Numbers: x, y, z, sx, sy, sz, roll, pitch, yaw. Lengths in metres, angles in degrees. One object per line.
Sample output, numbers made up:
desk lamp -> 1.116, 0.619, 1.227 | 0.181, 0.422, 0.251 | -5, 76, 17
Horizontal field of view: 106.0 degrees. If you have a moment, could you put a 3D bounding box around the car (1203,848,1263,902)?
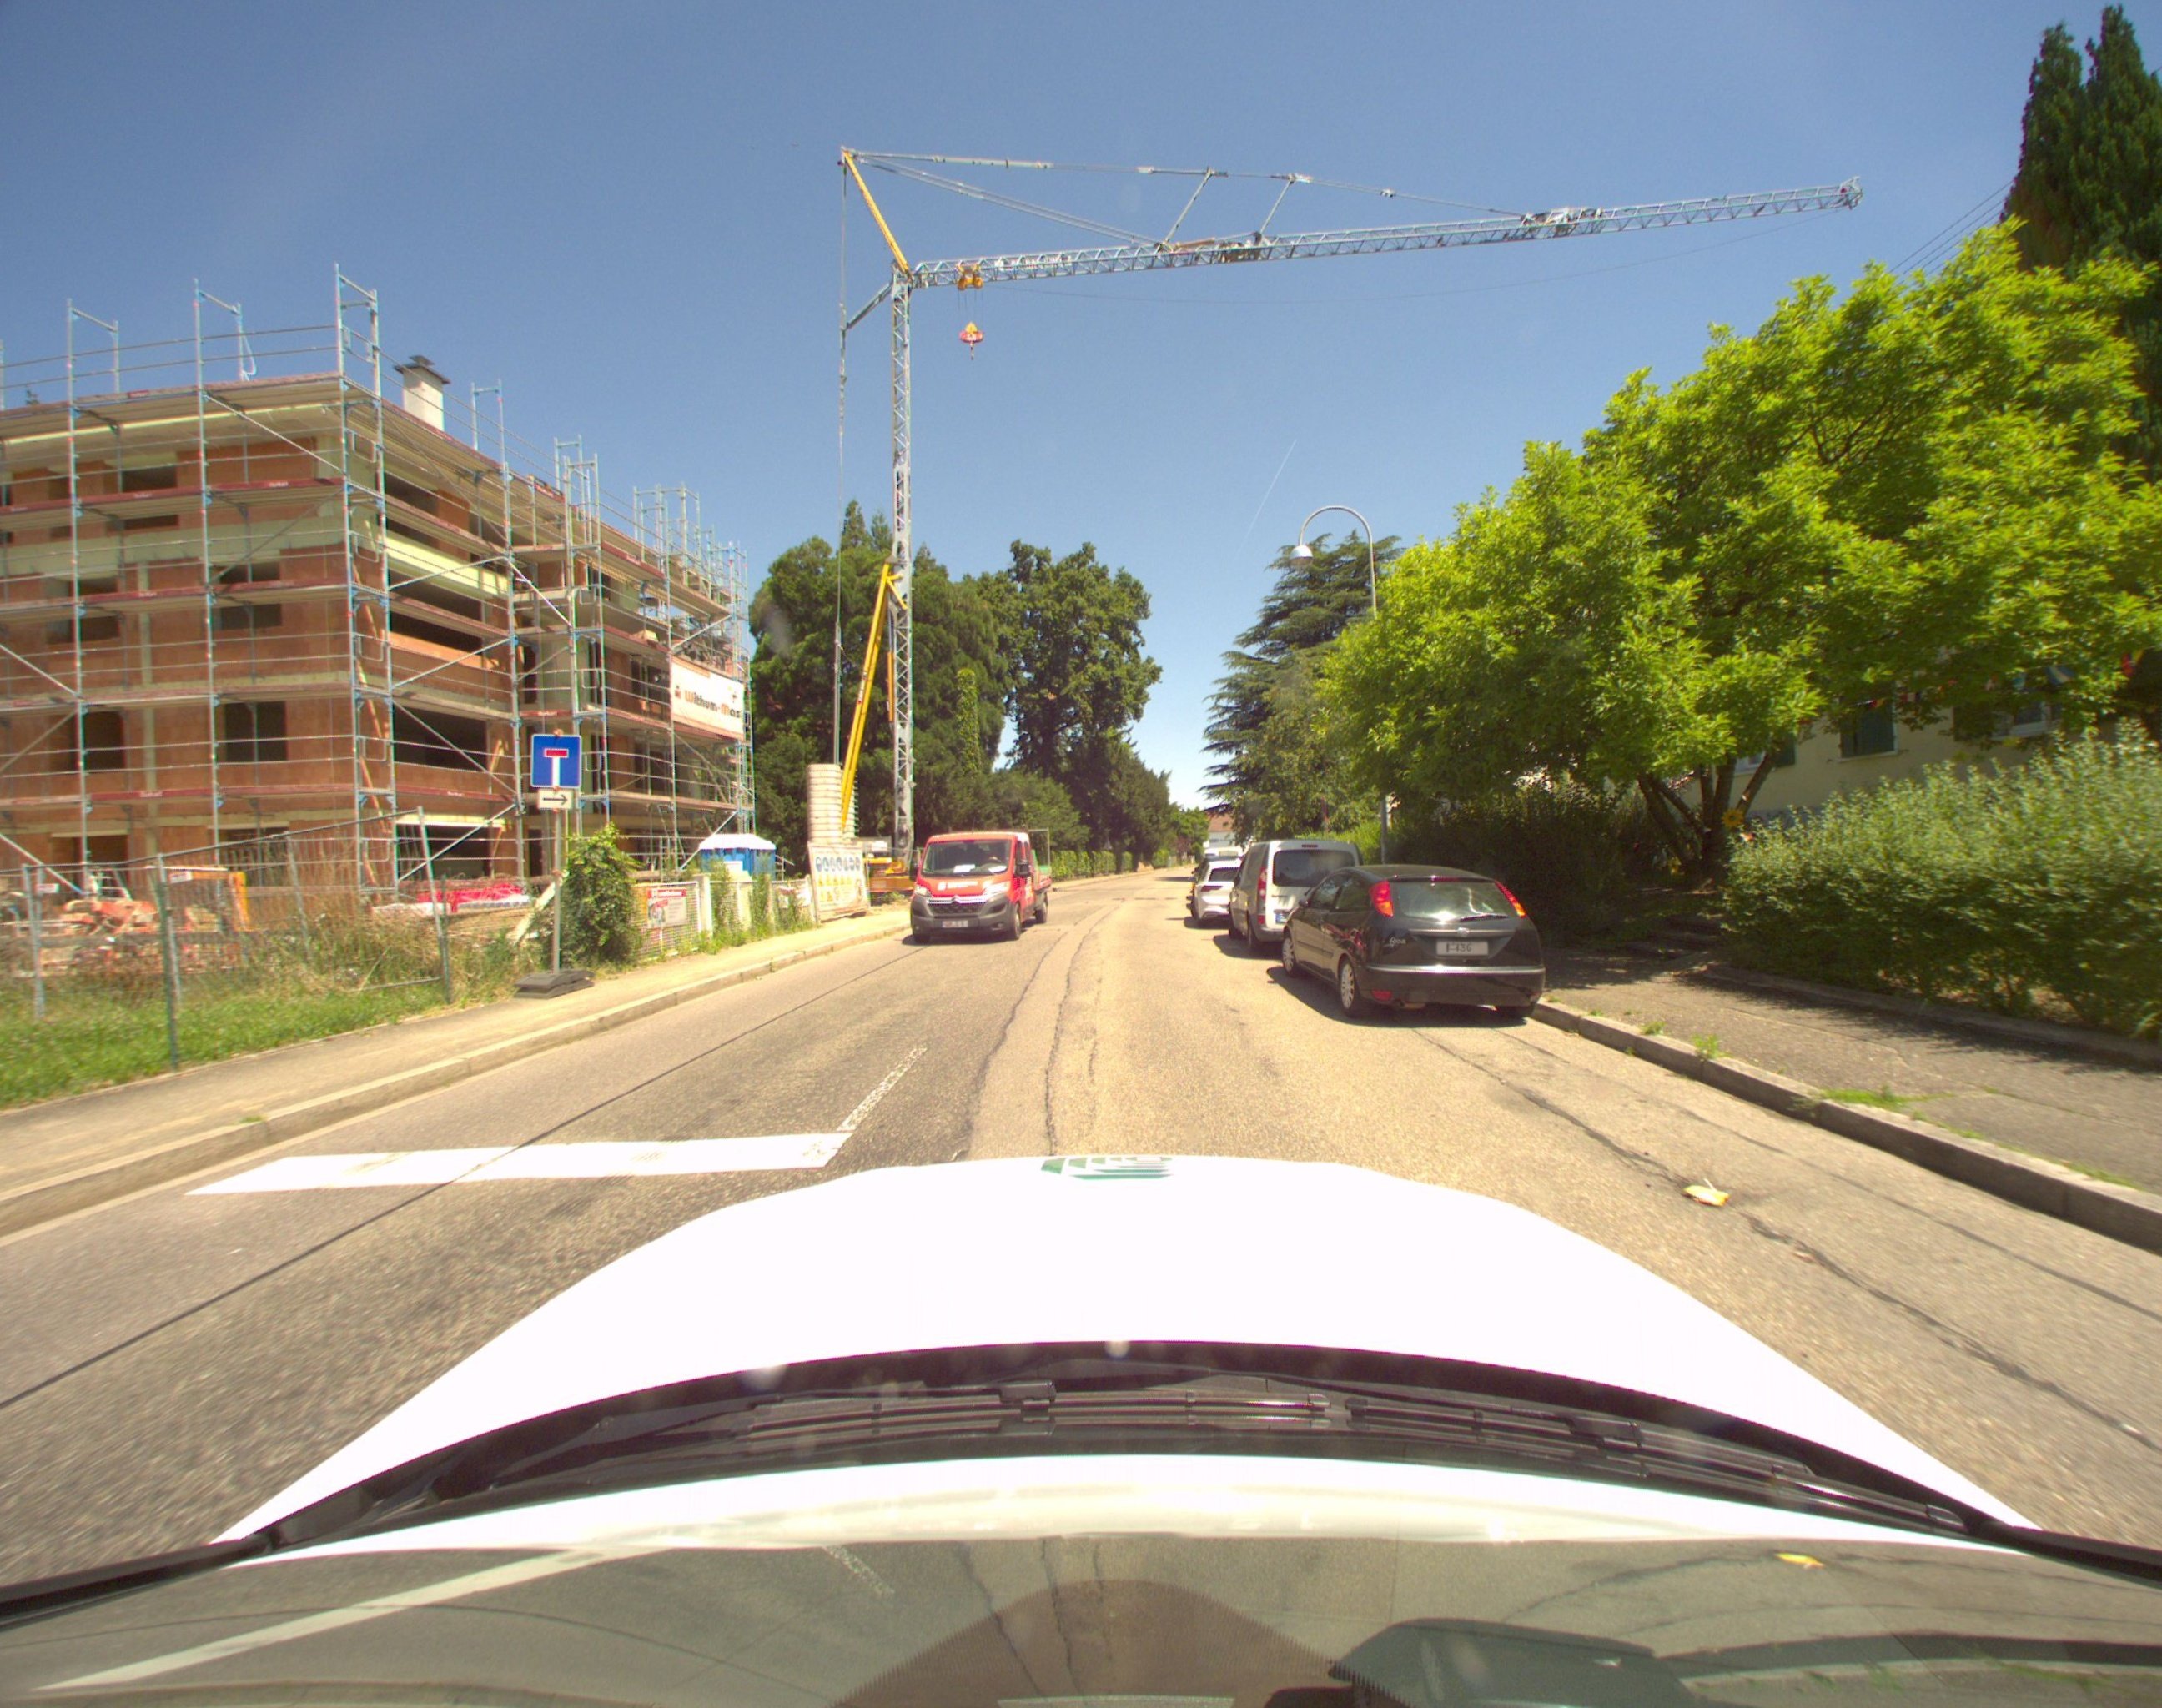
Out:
car -> 4.718, 0.639, 25.720 | 1.652, 1.538, 4.212 | 1, -1, 8

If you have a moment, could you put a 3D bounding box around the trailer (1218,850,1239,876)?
trailer -> 12.375, 0.726, 68.147 | 1.669, 2.068, 3.719 | 1, 0, 11

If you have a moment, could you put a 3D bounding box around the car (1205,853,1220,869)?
car -> 20.475, 1.108, 126.338 | 1.980, 2.533, 5.912 | 0, -1, 12

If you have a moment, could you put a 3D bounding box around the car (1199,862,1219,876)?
car -> 14.300, 1.669, 90.790 | 1.782, 1.510, 4.014 | 2, -1, 13

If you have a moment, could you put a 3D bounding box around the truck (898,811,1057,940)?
truck -> -2.008, 0.404, 18.200 | 2.117, 2.339, 6.443 | -1, 0, 5

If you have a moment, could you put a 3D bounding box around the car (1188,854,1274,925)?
car -> 3.407, 0.784, 19.097 | 1.653, 1.435, 4.135 | 2, -1, 6

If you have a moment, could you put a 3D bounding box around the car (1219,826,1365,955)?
car -> 3.410, 0.570, 13.893 | 1.654, 1.803, 4.207 | 2, -1, 4

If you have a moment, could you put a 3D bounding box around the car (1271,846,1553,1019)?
car -> 3.304, 0.708, 8.989 | 1.622, 1.463, 4.018 | 1, -1, 2
